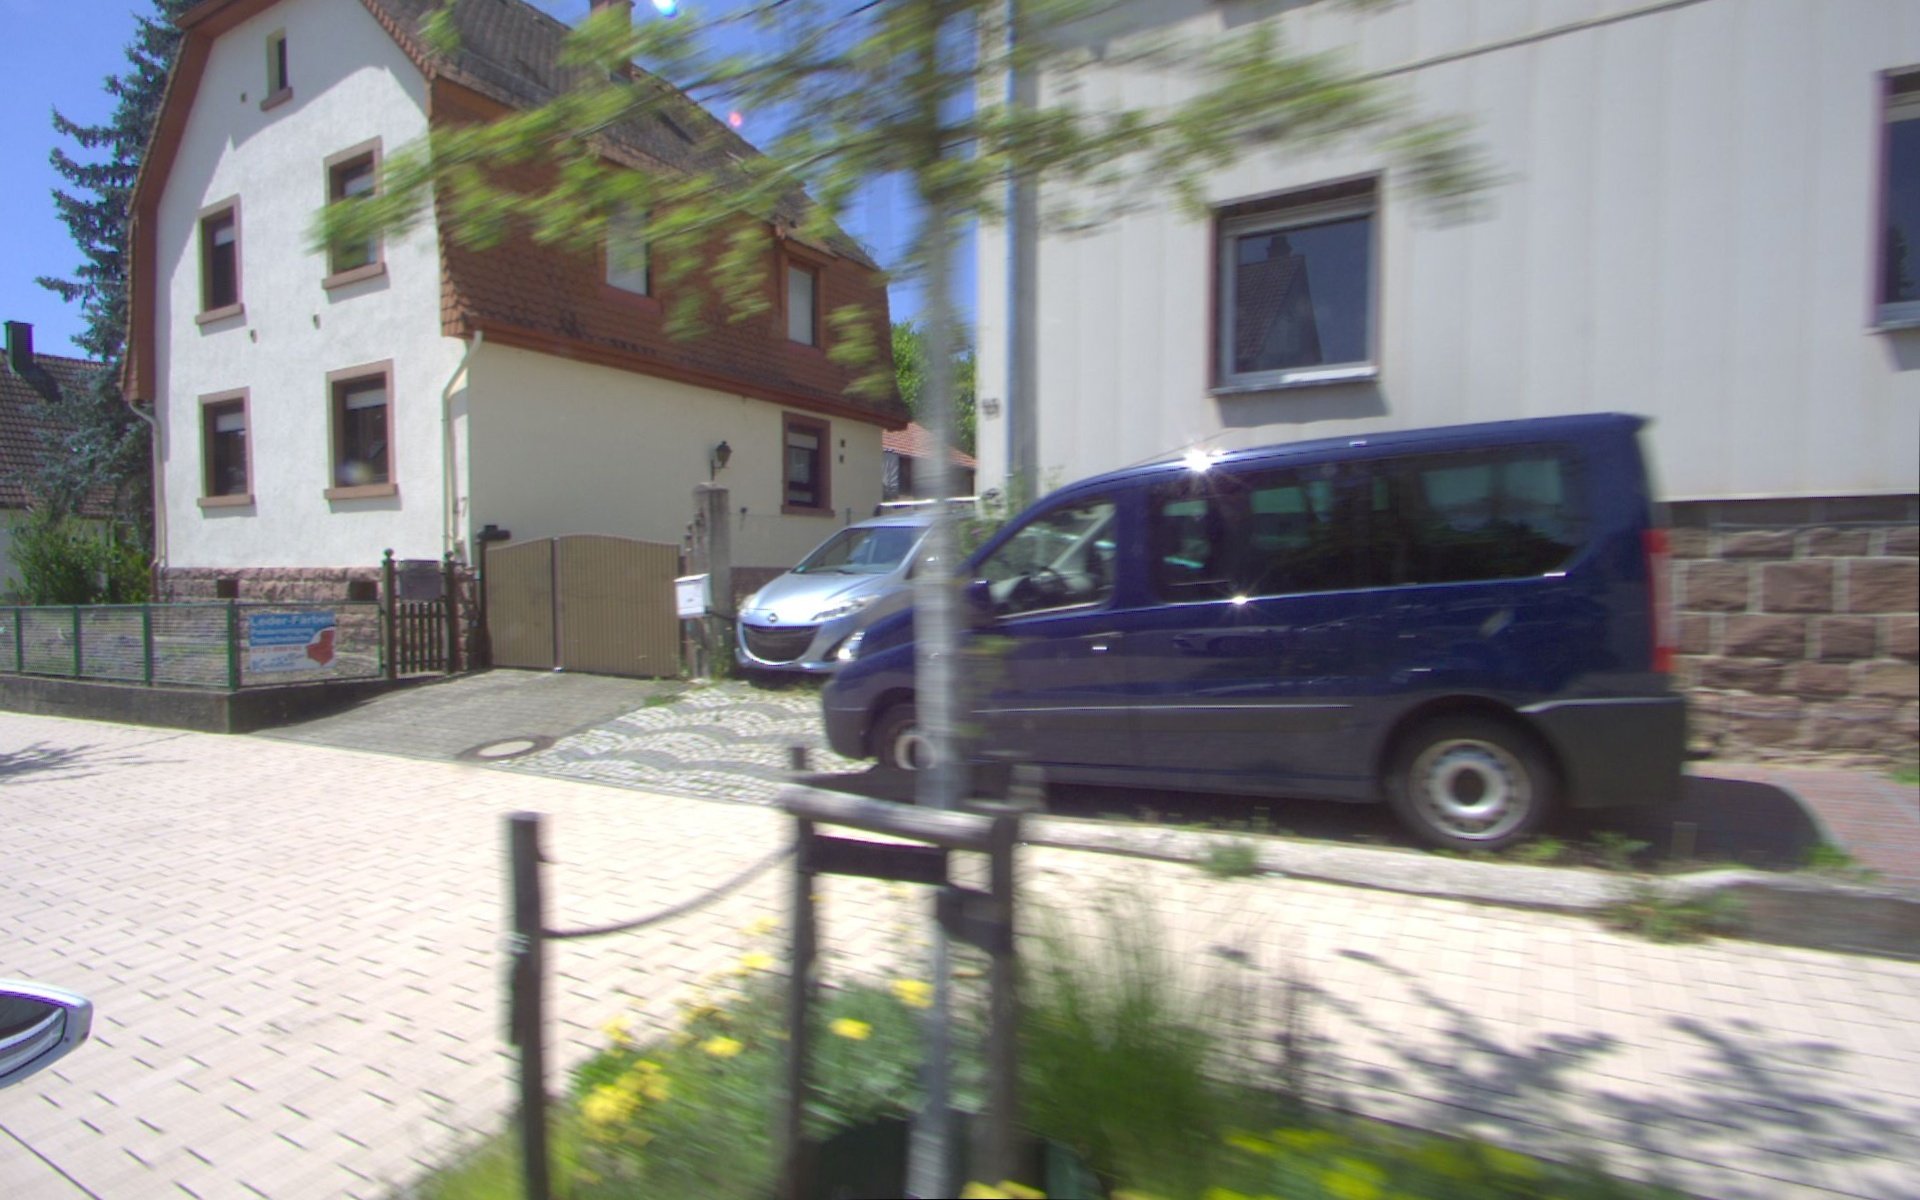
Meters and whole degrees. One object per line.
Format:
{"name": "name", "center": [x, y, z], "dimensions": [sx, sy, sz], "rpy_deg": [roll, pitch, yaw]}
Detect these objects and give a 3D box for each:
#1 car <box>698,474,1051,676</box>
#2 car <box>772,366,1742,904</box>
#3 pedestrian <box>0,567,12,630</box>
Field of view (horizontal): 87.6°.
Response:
{"name": "car", "center": [-0.738, -0.151, 11.048], "dimensions": [1.864, 1.788, 3.980], "rpy_deg": [0, -2, 33]}
{"name": "car", "center": [1.363, 0.114, 5.738], "dimensions": [4.704, 1.999, 1.847], "rpy_deg": [-1, 4, 32]}
{"name": "pedestrian", "center": [-25.545, -0.030, 26.363], "dimensions": [0.544, 1.639, 0.602], "rpy_deg": [0, 5, 32]}
